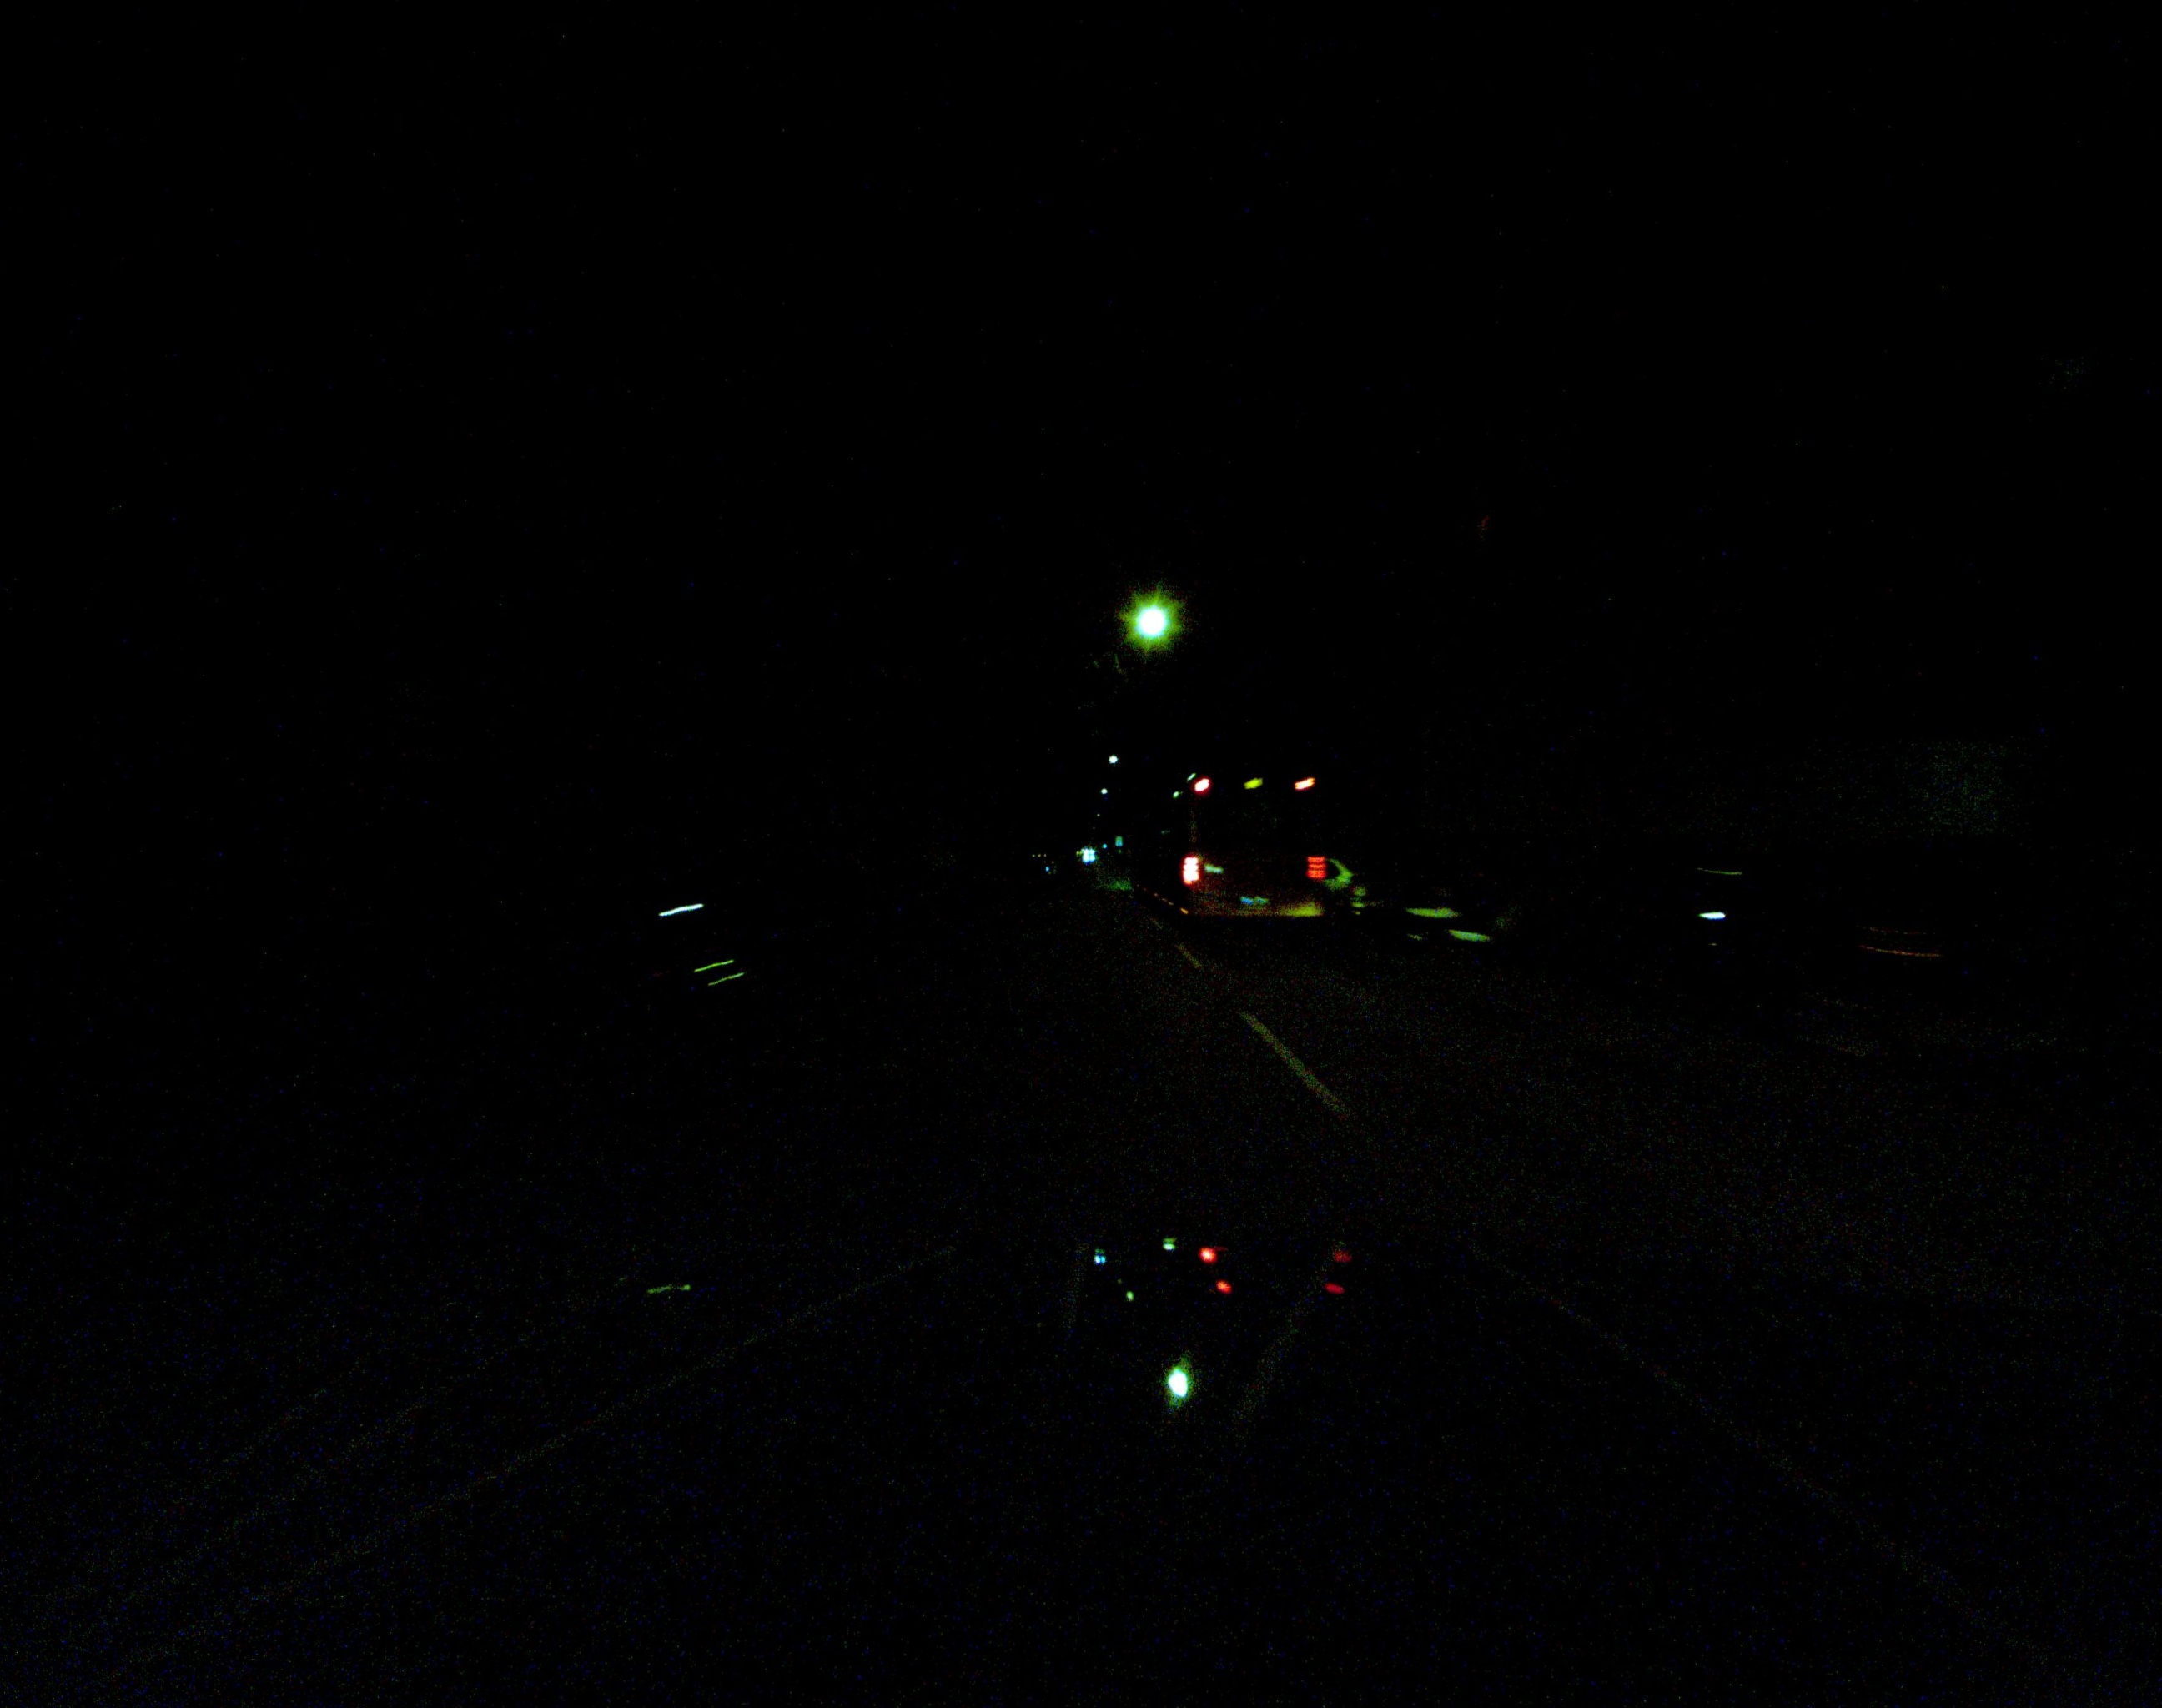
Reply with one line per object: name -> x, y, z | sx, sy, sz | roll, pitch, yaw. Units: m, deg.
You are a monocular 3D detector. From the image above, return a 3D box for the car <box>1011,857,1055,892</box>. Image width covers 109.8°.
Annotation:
car -> -2.171, 0.915, 35.426 | 1.775, 1.439, 4.019 | 0, 1, 0

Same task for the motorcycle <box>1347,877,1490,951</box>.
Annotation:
motorcycle -> 5.907, 1.007, 13.404 | 0.717, 1.140, 2.203 | -1, 0, -42

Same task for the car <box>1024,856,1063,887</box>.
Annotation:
car -> -1.976, 0.893, 41.091 | 1.850, 1.409, 4.644 | 2, 1, 0

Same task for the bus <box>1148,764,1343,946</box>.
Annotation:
bus -> 3.280, 0.017, 17.413 | 2.844, 3.159, 7.660 | -2, 0, 1

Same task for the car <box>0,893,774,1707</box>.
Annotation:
car -> -2.627, 0.957, 2.188 | 1.767, 1.467, 4.080 | 1, 0, 1

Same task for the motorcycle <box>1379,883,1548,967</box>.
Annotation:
motorcycle -> 5.750, 1.024, 11.478 | 2.203, 1.124, 0.717 | 0, 0, 34

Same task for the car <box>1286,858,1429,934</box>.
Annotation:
car -> 6.137, 0.853, 17.387 | 1.708, 1.483, 4.227 | 0, 0, 0

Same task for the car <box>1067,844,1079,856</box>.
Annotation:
car -> -1.356, -0.687, 128.469 | 1.916, 1.816, 4.899 | -1, 1, -2

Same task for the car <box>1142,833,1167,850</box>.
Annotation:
car -> 7.488, -1.234, 78.178 | 1.853, 1.641, 4.670 | -2, 0, -3

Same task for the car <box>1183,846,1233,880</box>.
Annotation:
car -> 6.493, 0.413, 39.247 | 1.839, 1.609, 4.544 | -2, 1, 1

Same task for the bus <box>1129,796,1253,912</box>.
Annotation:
bus -> 3.412, -0.017, 26.516 | 2.844, 3.159, 10.498 | -2, 0, 1

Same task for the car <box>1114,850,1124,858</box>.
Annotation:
car -> 8.185, -0.028, 163.315 | 1.731, 1.477, 4.290 | -2, 1, 0

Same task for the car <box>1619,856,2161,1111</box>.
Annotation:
car -> 6.043, 0.805, 6.041 | 1.642, 1.489, 2.765 | -1, 1, 2
